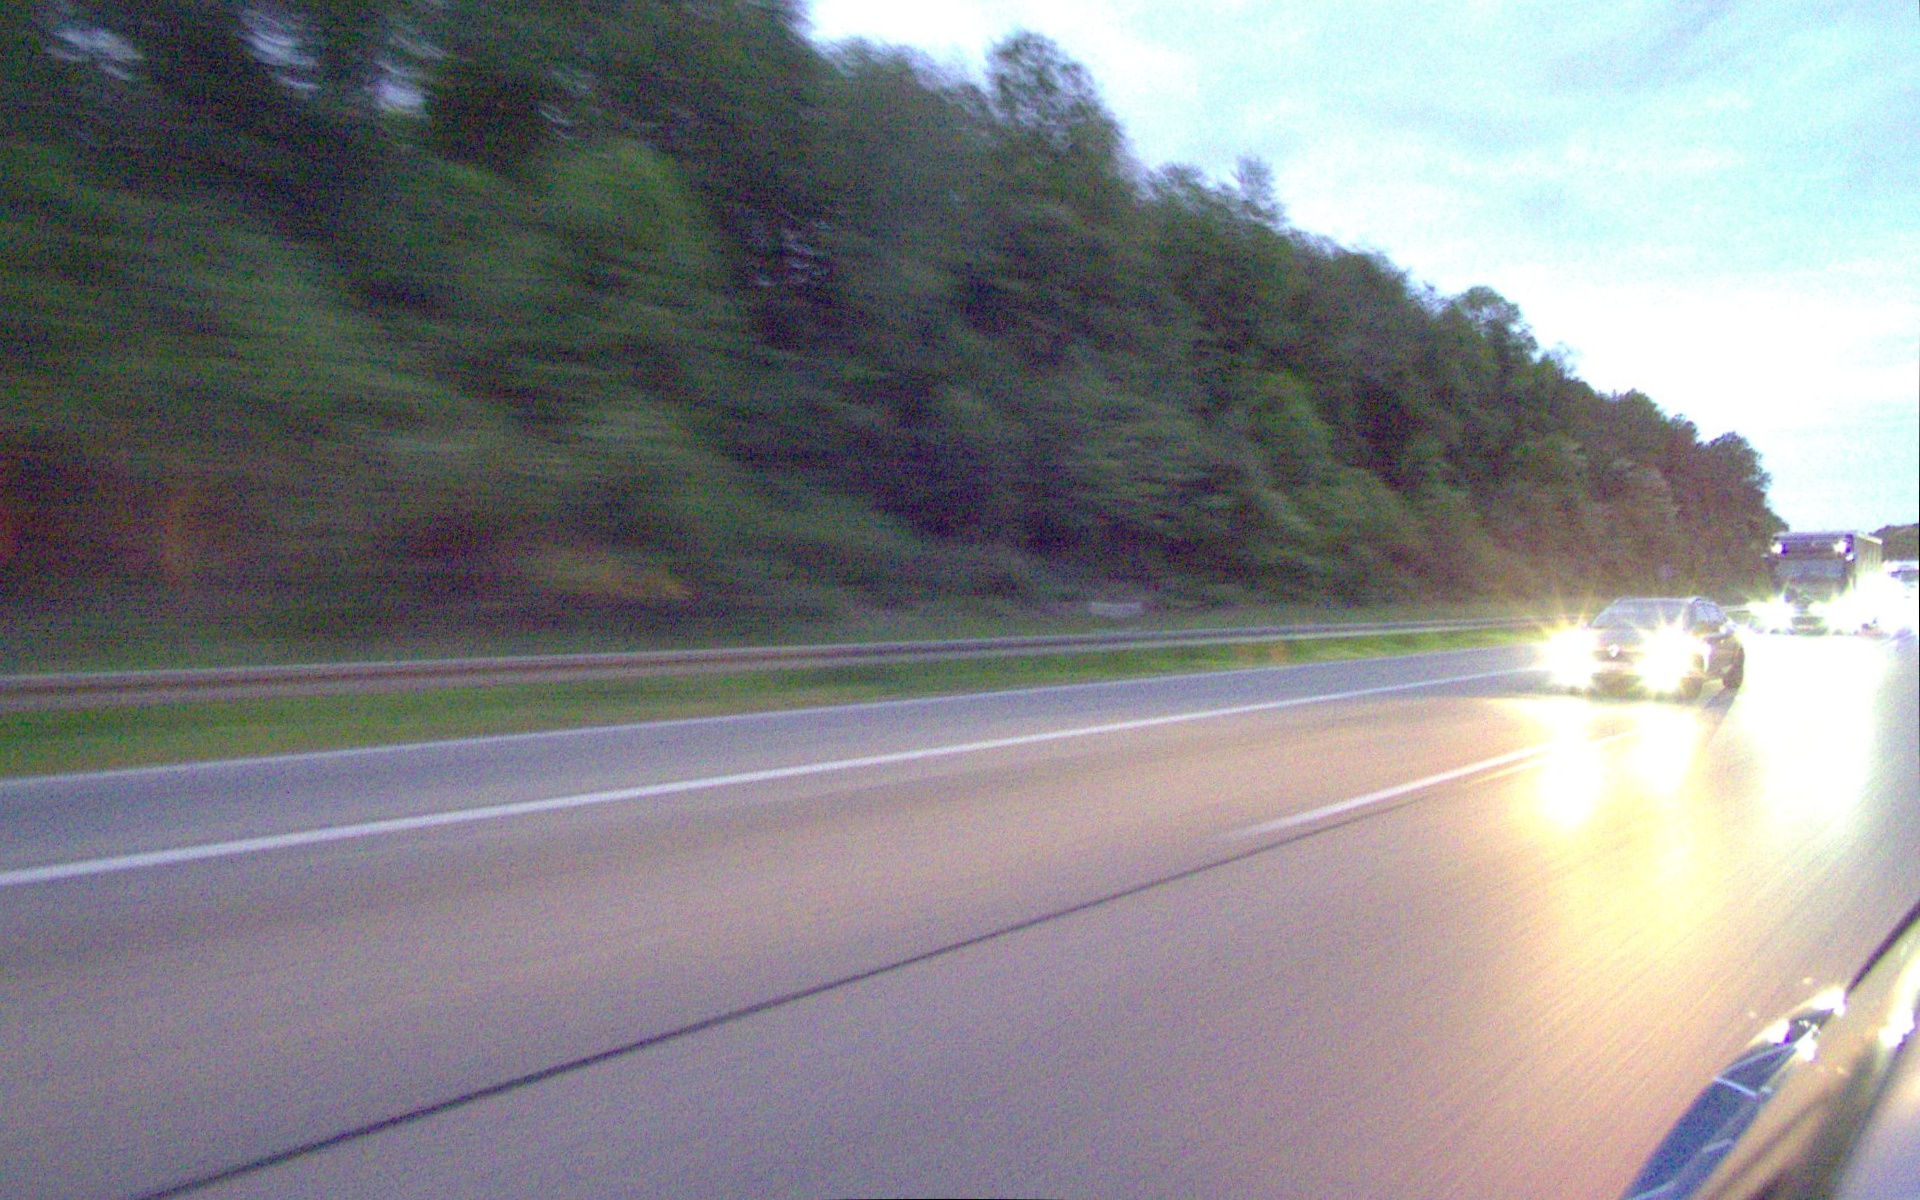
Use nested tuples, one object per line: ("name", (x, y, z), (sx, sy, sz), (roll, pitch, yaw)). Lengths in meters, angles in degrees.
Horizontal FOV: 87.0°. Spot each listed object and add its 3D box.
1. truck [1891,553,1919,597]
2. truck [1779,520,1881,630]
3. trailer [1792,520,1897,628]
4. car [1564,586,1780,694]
("truck", (91.388, -2.440, 96.570), (3.333, 4.017, 13.322), (0, 1, 44))
("truck", (34.027, -0.975, 39.512), (5.498, 4.017, 2.494), (-2, 1, -44))
("trailer", (38.846, -1.175, 44.203), (13.286, 4.124, 2.484), (-2, 1, -45))
("car", (11.657, 0.561, 16.439), (4.861, 1.509, 1.694), (0, 0, -40))
